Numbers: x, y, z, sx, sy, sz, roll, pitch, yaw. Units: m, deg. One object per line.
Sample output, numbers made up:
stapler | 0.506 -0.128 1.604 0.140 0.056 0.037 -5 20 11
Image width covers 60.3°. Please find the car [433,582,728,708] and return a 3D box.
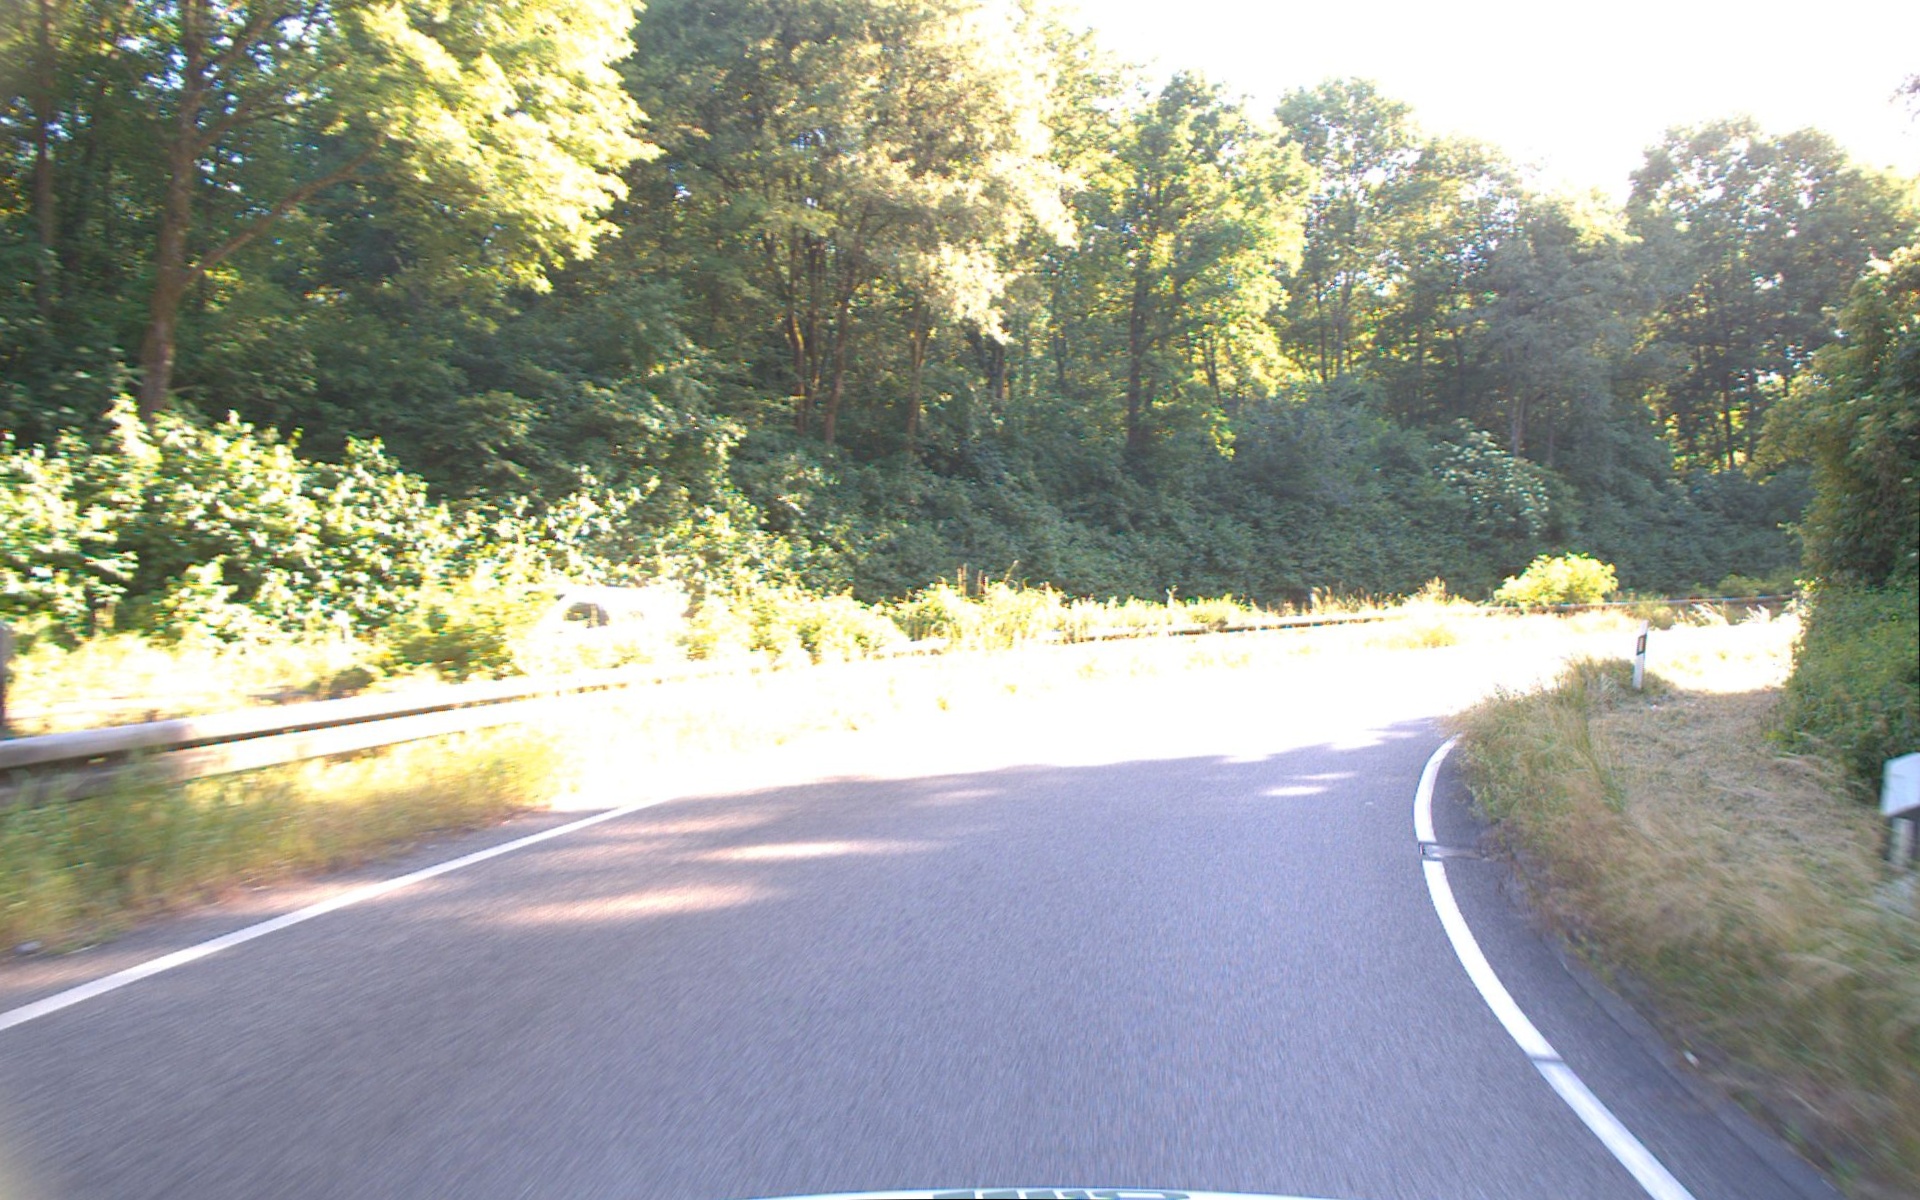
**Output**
car | -4.911 0.525 21.944 1.687 1.513 3.996 -1 0 26
